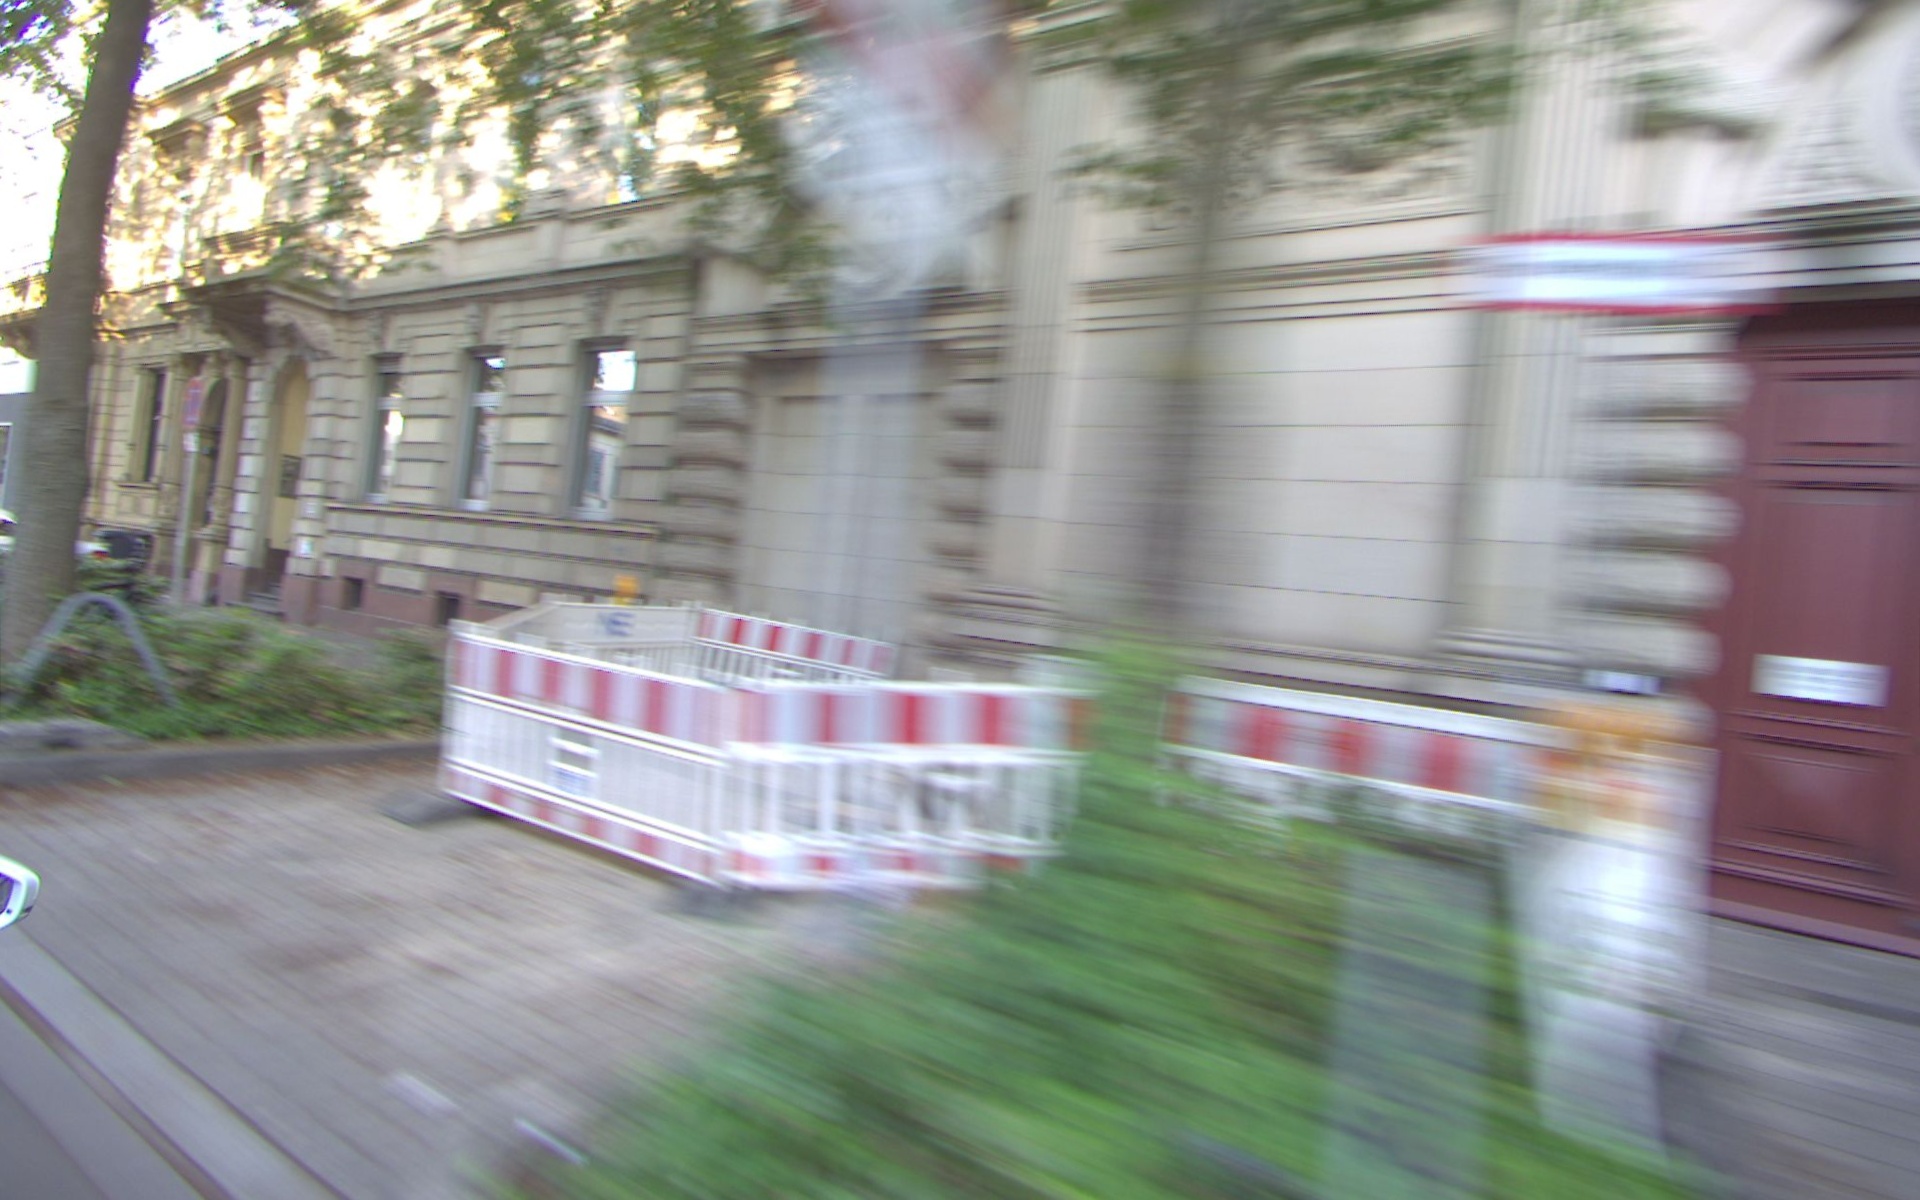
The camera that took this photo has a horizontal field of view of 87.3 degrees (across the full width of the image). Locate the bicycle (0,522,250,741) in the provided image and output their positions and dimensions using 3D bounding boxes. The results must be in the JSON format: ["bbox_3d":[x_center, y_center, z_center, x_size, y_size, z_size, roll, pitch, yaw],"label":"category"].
[{"bbox_3d":[-6.135,0.220,6.781,0.500,1.376,2.051,7,-2,30],"label":"bicycle"}]

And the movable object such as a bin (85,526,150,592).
[{"bbox_3d":[-14.825,-0.718,17.707,0.605,1.077,0.658,6,0,32],"label":"movable object such as a bin"}]

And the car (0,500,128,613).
[{"bbox_3d":[-14.502,-0.801,13.607,1.894,1.454,4.587,7,-1,34],"label":"car"}]
